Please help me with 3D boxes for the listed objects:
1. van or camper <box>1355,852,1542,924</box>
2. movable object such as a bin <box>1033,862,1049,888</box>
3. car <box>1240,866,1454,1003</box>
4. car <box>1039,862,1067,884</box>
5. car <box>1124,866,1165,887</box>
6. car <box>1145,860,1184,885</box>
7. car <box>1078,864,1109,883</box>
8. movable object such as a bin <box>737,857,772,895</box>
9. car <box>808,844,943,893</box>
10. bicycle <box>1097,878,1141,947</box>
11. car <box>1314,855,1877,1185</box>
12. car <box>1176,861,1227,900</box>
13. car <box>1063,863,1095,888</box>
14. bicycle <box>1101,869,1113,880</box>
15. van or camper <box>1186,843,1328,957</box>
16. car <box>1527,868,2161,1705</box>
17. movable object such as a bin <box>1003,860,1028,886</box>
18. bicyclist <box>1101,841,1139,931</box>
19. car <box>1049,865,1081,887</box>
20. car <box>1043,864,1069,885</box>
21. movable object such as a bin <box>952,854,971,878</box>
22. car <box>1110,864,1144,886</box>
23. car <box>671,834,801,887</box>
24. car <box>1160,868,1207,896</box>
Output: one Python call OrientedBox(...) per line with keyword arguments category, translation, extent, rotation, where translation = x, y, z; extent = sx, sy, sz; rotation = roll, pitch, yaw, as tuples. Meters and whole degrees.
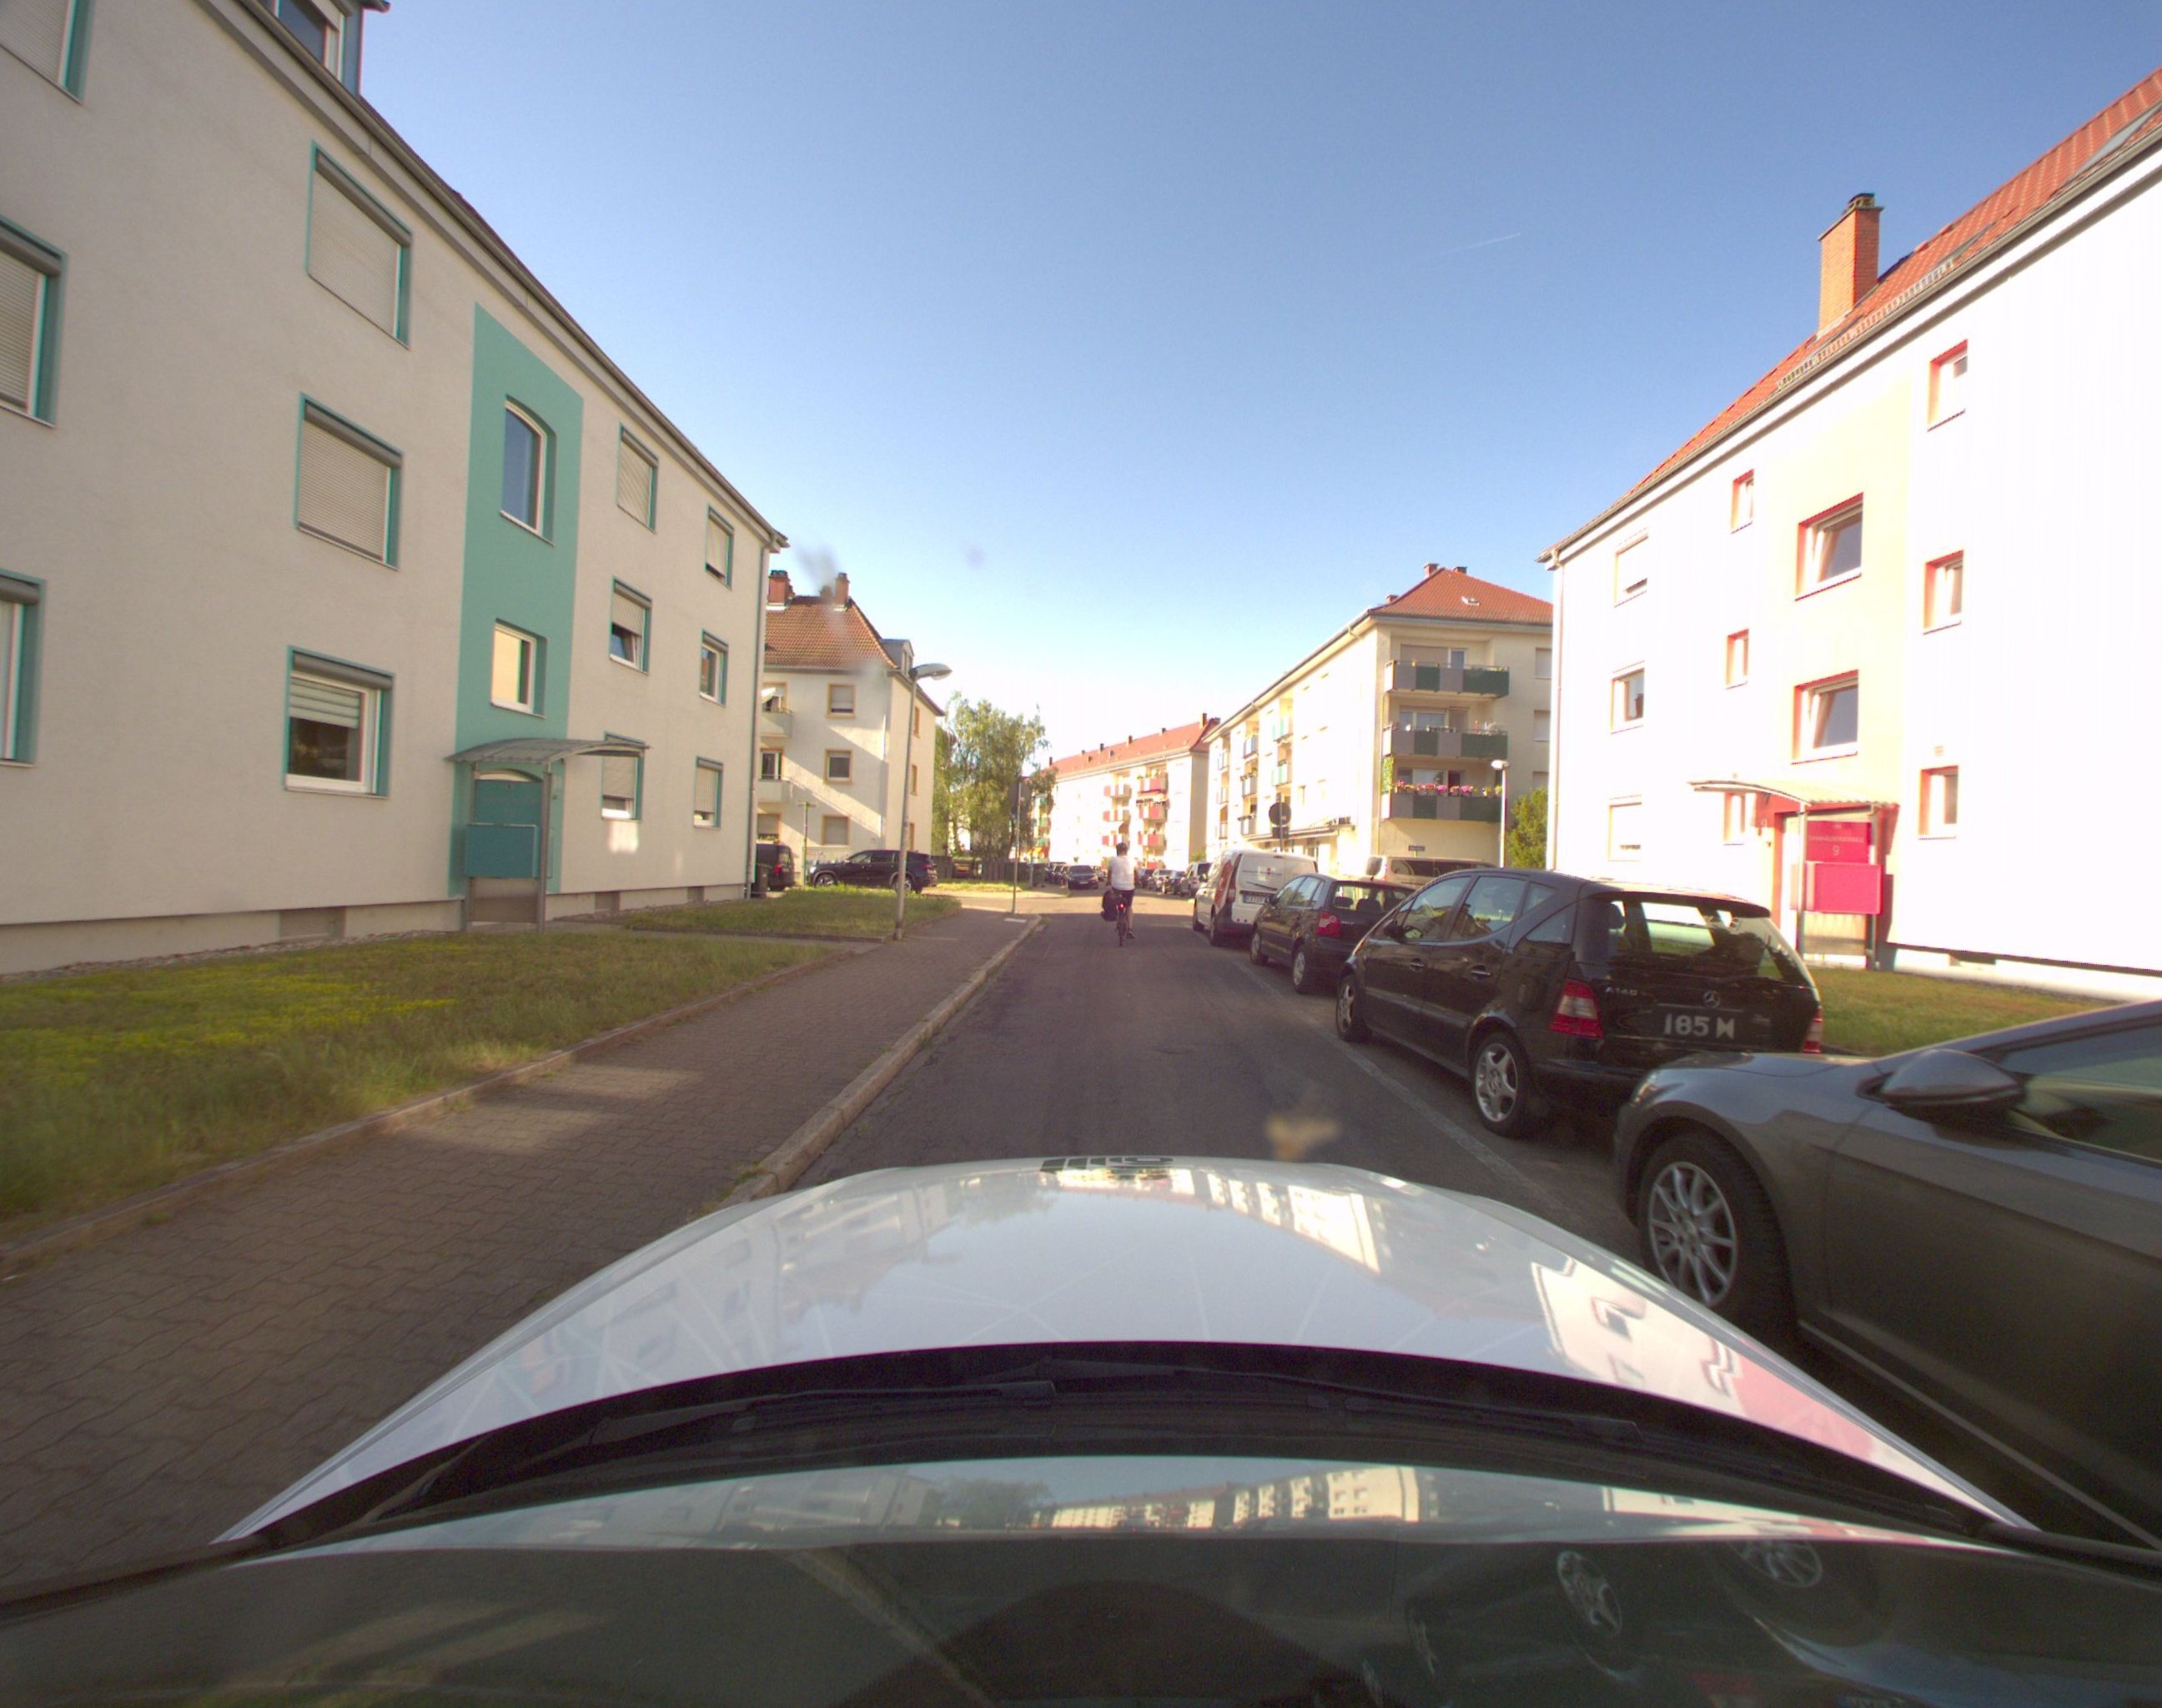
OrientedBox(category="van or camper", translation=(11.801, 1.068, 26.384), extent=(5.104, 2.013, 2.001), rotation=(2, 1, 1))
OrientedBox(category="movable object such as a bin", translation=(-2.232, 1.140, 45.278), extent=(0.773, 1.393, 1.416), rotation=(2, -1, -1))
OrientedBox(category="car", translation=(3.340, 0.927, 10.986), extent=(1.568, 1.417, 3.787), rotation=(4, 0, 0))
OrientedBox(category="car", translation=(-2.309, 1.528, 66.048), extent=(1.556, 1.714, 4.321), rotation=(-1, -1, -11))
OrientedBox(category="car", translation=(4.530, 1.630, 58.942), extent=(1.695, 1.432, 4.668), rotation=(1, -1, -12))
OrientedBox(category="car", translation=(5.360, 1.182, 52.998), extent=(1.675, 1.447, 4.716), rotation=(2, 0, -5))
OrientedBox(category="car", translation=(1.148, 1.866, 78.073), extent=(1.770, 1.635, 4.017), rotation=(0, 1, -18))
OrientedBox(category="movable object such as a bin", translation=(-8.790, 0.593, 21.966), extent=(0.611, 0.992, 0.714), rotation=(3, -1, 0))
OrientedBox(category="car", translation=(-7.515, 0.560, 30.067), extent=(4.472, 1.664, 1.719), rotation=(1, -2, 1))
OrientedBox(category="bicycle", translation=(0.698, 1.015, 14.620), extent=(0.624, 1.115, 1.820), rotation=(-1, -1, 8))
OrientedBox(category="car", translation=(3.154, 0.861, 5.943), extent=(1.613, 1.550, 3.607), rotation=(5, -1, -3))
OrientedBox(category="car", translation=(6.059, 1.302, 41.303), extent=(1.743, 1.824, 4.126), rotation=(0, -1, -3))
OrientedBox(category="car", translation=(-0.179, 1.282, 49.418), extent=(1.674, 1.453, 4.614), rotation=(-1, -1, -3))
OrientedBox(category="bicycle", translation=(2.818, 2.191, 87.324), extent=(0.619, 0.978, 1.883), rotation=(-1, 2, -20))
OrientedBox(category="van or camper", translation=(3.271, 0.802, 16.088), extent=(1.786, 1.747, 4.736), rotation=(5, -1, 2))
OrientedBox(category="car", translation=(2.809, 0.877, 1.487), extent=(1.624, 1.450, 3.949), rotation=(5, 0, -2))
OrientedBox(category="movable object such as a bin", translation=(-3.656, 1.036, 45.572), extent=(1.214, 1.380, 0.768), rotation=(3, -1, 4))
OrientedBox(category="bicyclist", translation=(0.709, 0.570, 14.699), extent=(0.593, 1.579, 0.909), rotation=(0, -2, 8))
OrientedBox(category="car", translation=(-1.096, 1.438, 54.491), extent=(1.676, 1.442, 4.269), rotation=(-1, -1, -7))
OrientedBox(category="car", translation=(-1.875, 1.505, 60.031), extent=(1.554, 1.442, 3.957), rotation=(-1, -1, -7))
OrientedBox(category="movable object such as a bin", translation=(-7.457, 0.744, 50.811), extent=(1.057, 1.435, 1.002), rotation=(0, -1, -1))
OrientedBox(category="car", translation=(3.647, 1.696, 65.630), extent=(1.694, 1.656, 4.372), rotation=(1, -2, -11))
OrientedBox(category="car", translation=(-12.675, 0.264, 30.079), extent=(3.977, 1.789, 1.719), rotation=(1, -2, 1))
OrientedBox(category="car", translation=(5.848, 1.572, 46.881), extent=(1.676, 1.407, 4.535), rotation=(2, 0, -6))
